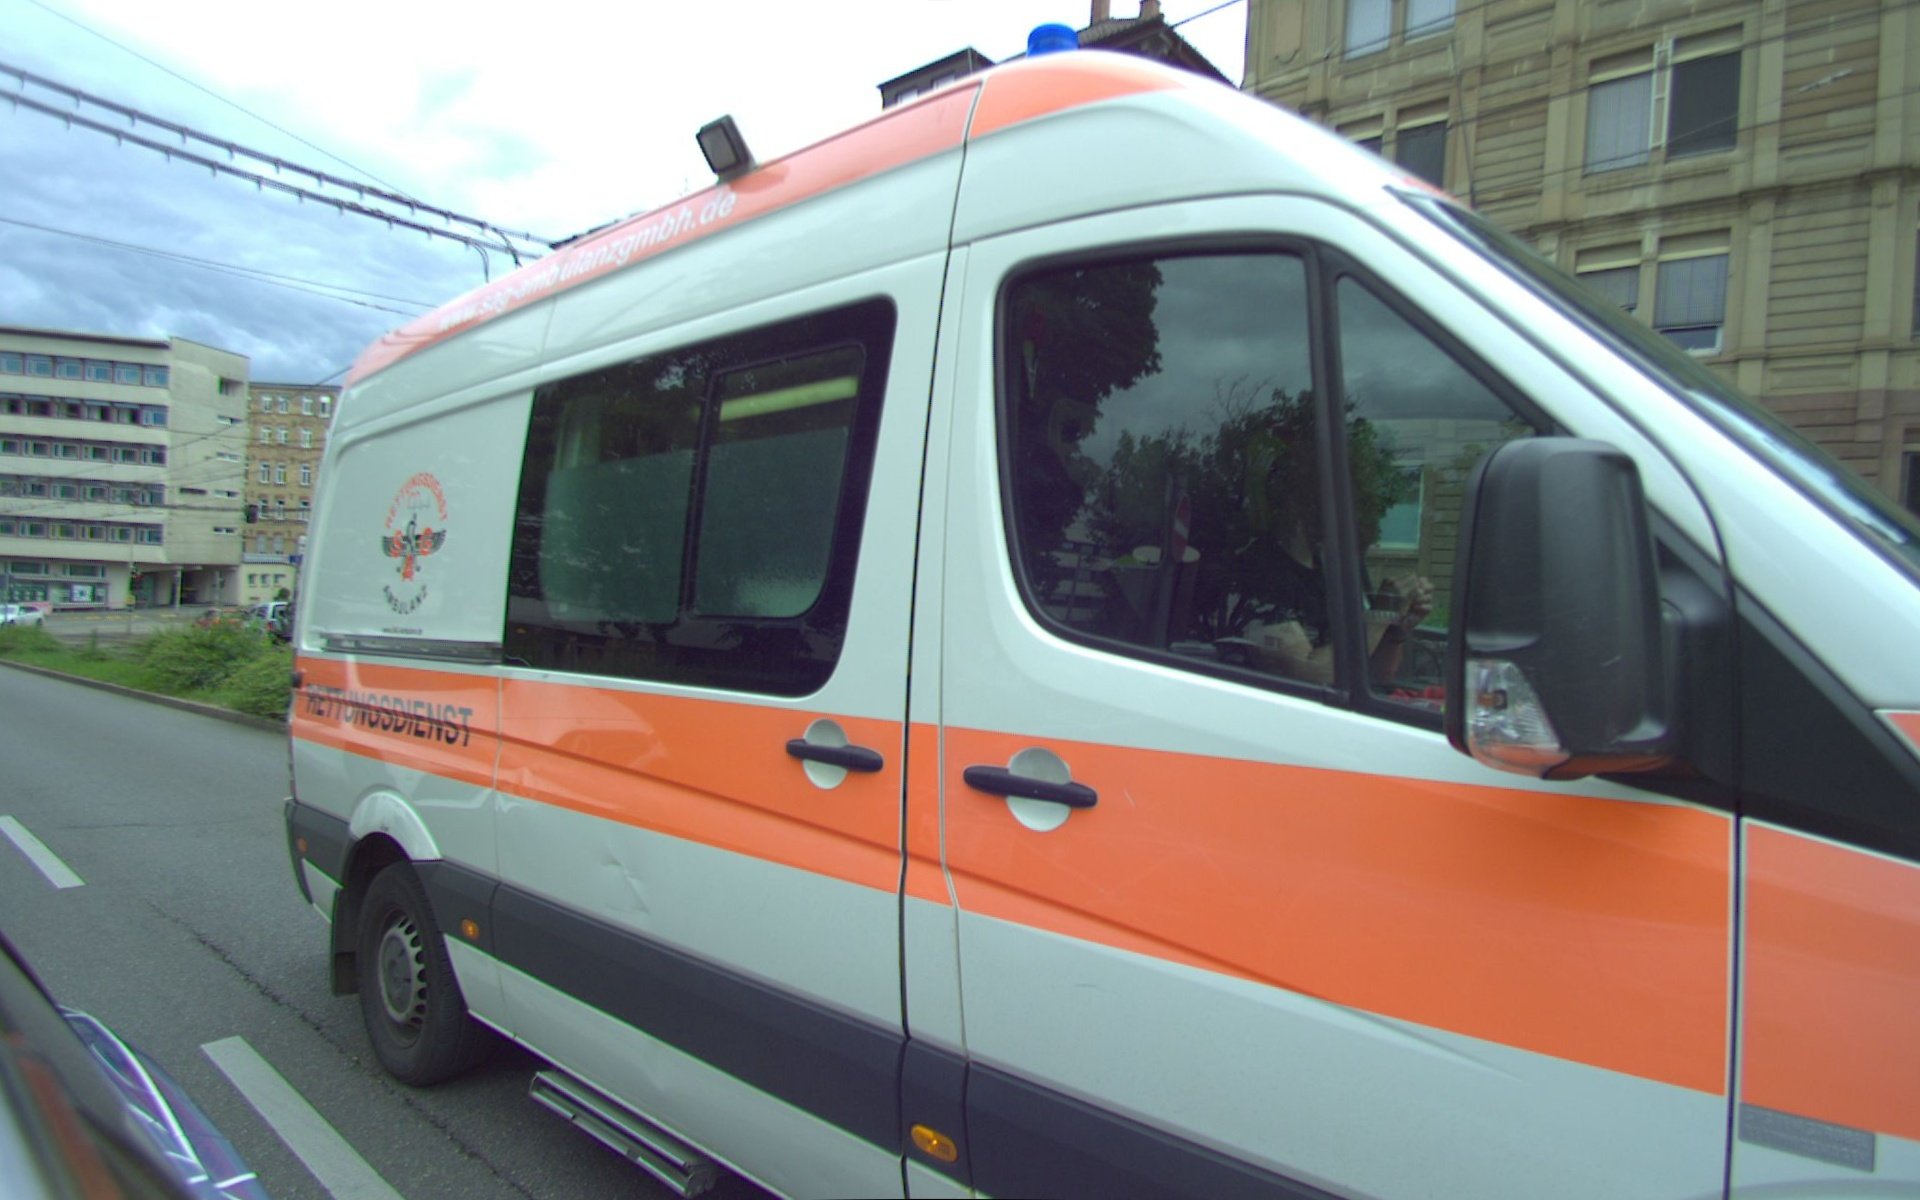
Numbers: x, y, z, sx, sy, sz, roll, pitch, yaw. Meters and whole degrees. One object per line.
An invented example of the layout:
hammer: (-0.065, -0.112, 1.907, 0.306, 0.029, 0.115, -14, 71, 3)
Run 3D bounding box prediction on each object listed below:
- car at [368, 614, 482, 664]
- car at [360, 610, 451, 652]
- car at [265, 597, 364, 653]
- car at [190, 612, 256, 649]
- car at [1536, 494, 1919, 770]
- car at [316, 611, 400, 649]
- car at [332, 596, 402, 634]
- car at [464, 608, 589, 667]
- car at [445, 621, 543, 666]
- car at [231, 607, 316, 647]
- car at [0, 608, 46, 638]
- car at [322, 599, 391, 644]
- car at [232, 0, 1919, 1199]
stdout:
car: (-17.408, 1.232, 32.862, 3.997, 1.507, 1.875, -1, -2, 40)
car: (-21.693, 1.200, 39.570, 3.996, 1.581, 1.737, -1, -2, 39)
car: (-24.995, 0.951, 39.133, 4.748, 2.029, 2.118, -1, -2, 44)
car: (-33.837, 1.375, 46.430, 3.843, 1.641, 1.659, -1, -2, 42)
car: (9.940, 0.379, 12.136, 2.180, 2.844, 4.793, 2, -2, -39)
car: (-25.497, 1.265, 42.818, 3.998, 1.522, 1.864, -1, -2, 41)
car: (-31.510, 0.807, 53.747, 3.994, 1.930, 1.825, -1, -2, 38)
car: (-12.120, 1.013, 28.193, 3.757, 1.541, 1.736, -1, -2, 41)
car: (-16.188, 1.478, 35.080, 3.746, 1.463, 1.704, -1, -2, 41)
car: (-28.768, 1.131, 42.387, 3.998, 1.596, 1.973, -1, -2, 41)
car: (-52.880, 1.275, 55.881, 1.966, 1.564, 4.330, 1, -2, -18)
car: (-29.849, 1.085, 49.985, 3.915, 2.137, 1.771, -1, -2, 41)
car: (0.023, 0.434, 2.745, 5.852, 2.720, 2.012, -1, -2, 42)
